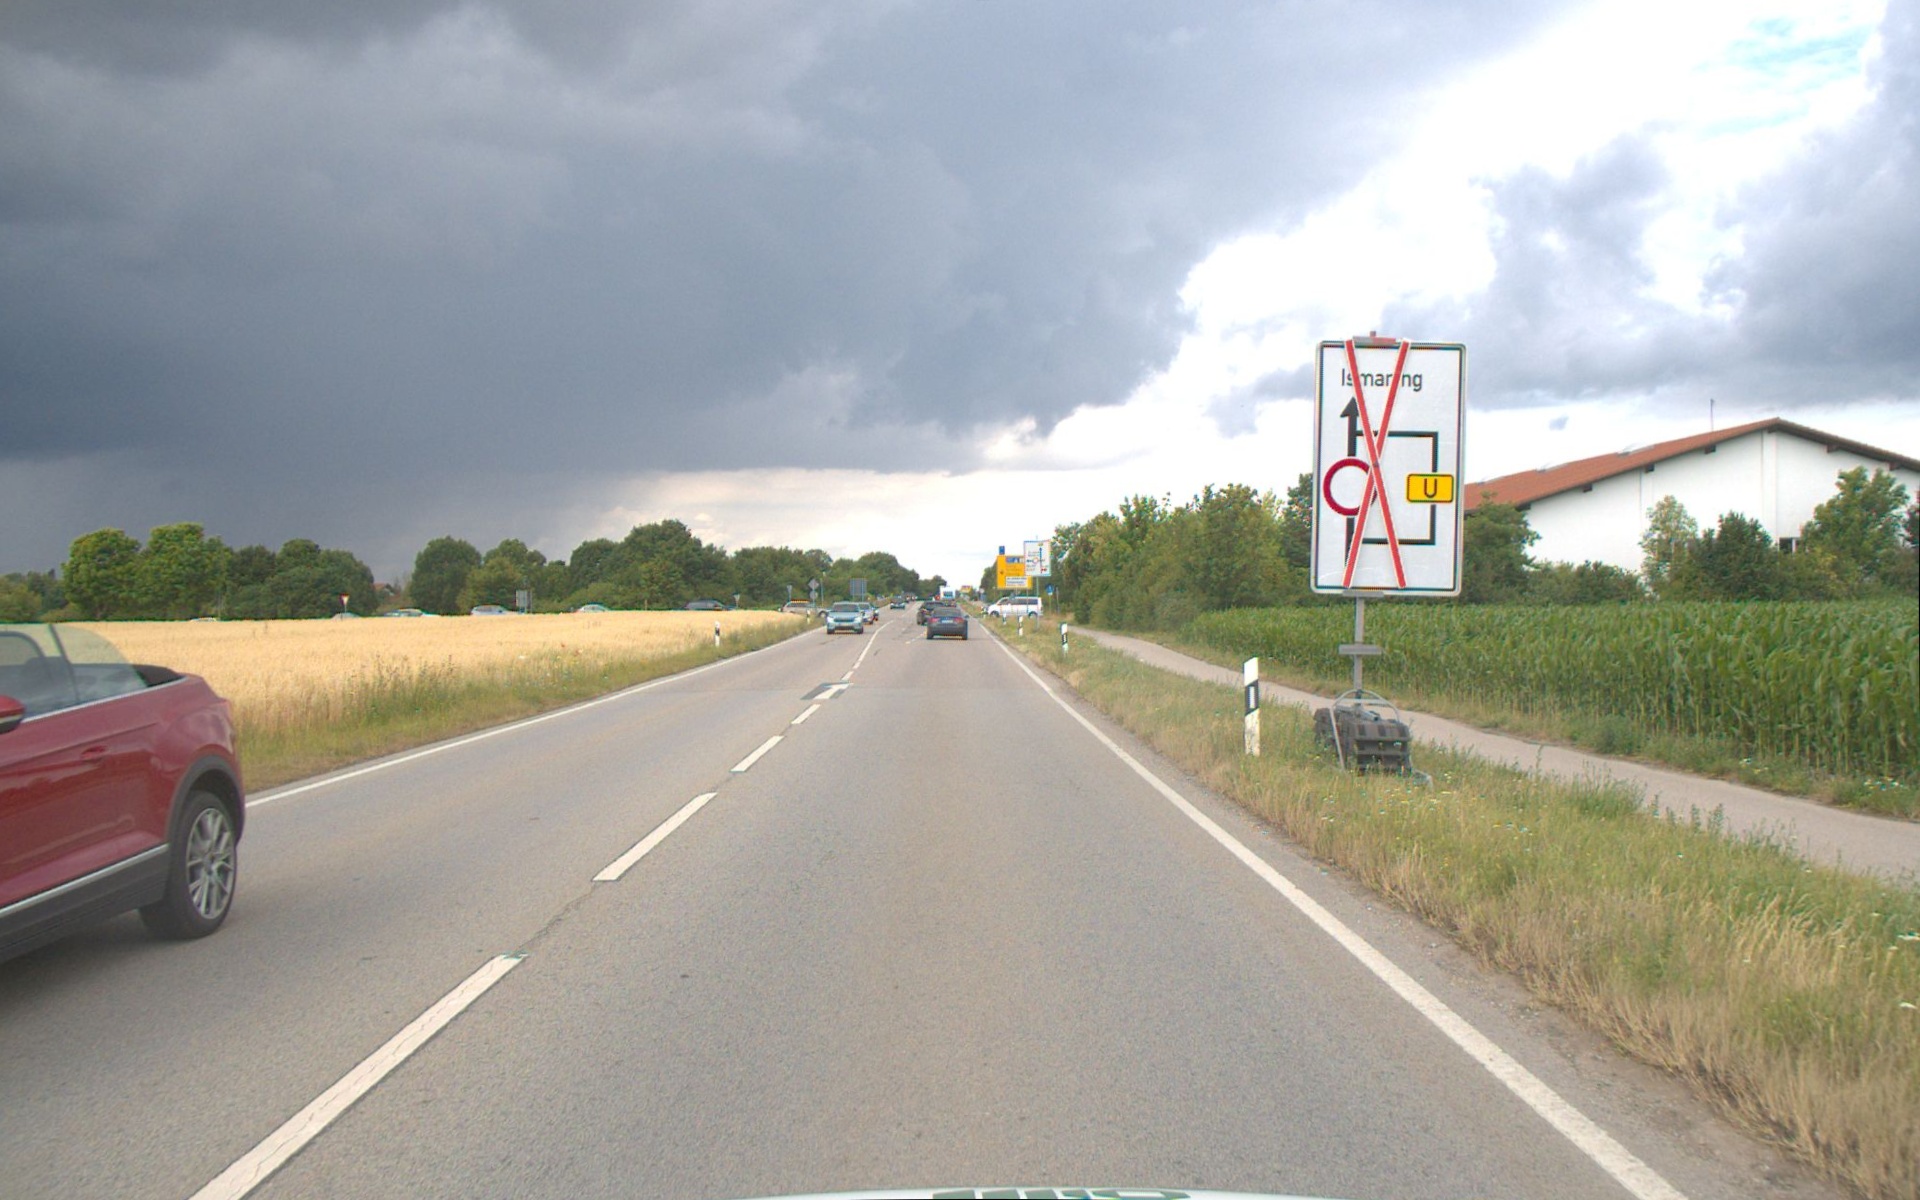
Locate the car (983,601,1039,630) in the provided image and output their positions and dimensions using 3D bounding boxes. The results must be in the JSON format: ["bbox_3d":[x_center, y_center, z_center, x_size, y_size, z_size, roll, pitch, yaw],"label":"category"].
[{"bbox_3d":[4.392,1.343,142.948,4.740,2.495,2.004,-1,-1,-4],"label":"car"}]

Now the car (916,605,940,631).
[{"bbox_3d":[-2.160,1.213,112.910,1.539,1.731,3.999,-1,-1,-1],"label":"car"}]

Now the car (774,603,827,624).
[{"bbox_3d":[-13.336,1.158,138.393,4.327,1.678,1.500,-1,-1,-6],"label":"car"}]

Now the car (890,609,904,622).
[{"bbox_3d":[-7.668,1.863,201.264,1.612,1.618,3.999,-1,0,0],"label":"car"}]

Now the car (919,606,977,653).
[{"bbox_3d":[-0.580,1.284,73.607,2.325,1.913,4.475,-2,0,-3],"label":"car"}]

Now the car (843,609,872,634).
[{"bbox_3d":[-6.984,1.475,113.423,1.731,1.629,4.929,-1,0,-1],"label":"car"}]

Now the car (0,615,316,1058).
[{"bbox_3d":[-4.161,0.838,6.247,1.677,1.514,4.607,-1,0,-1],"label":"car"}]

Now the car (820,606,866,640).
[{"bbox_3d":[-6.058,1.181,86.138,2.023,1.608,4.764,-2,0,-1],"label":"car"}]

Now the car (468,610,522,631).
[{"bbox_3d":[-39.224,1.750,139.570,3.986,1.678,1.867,-1,-1,3],"label":"car"}]

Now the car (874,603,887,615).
[{"bbox_3d":[-10.563,1.182,220.339,1.612,1.618,3.999,-1,0,0],"label":"car"}]
